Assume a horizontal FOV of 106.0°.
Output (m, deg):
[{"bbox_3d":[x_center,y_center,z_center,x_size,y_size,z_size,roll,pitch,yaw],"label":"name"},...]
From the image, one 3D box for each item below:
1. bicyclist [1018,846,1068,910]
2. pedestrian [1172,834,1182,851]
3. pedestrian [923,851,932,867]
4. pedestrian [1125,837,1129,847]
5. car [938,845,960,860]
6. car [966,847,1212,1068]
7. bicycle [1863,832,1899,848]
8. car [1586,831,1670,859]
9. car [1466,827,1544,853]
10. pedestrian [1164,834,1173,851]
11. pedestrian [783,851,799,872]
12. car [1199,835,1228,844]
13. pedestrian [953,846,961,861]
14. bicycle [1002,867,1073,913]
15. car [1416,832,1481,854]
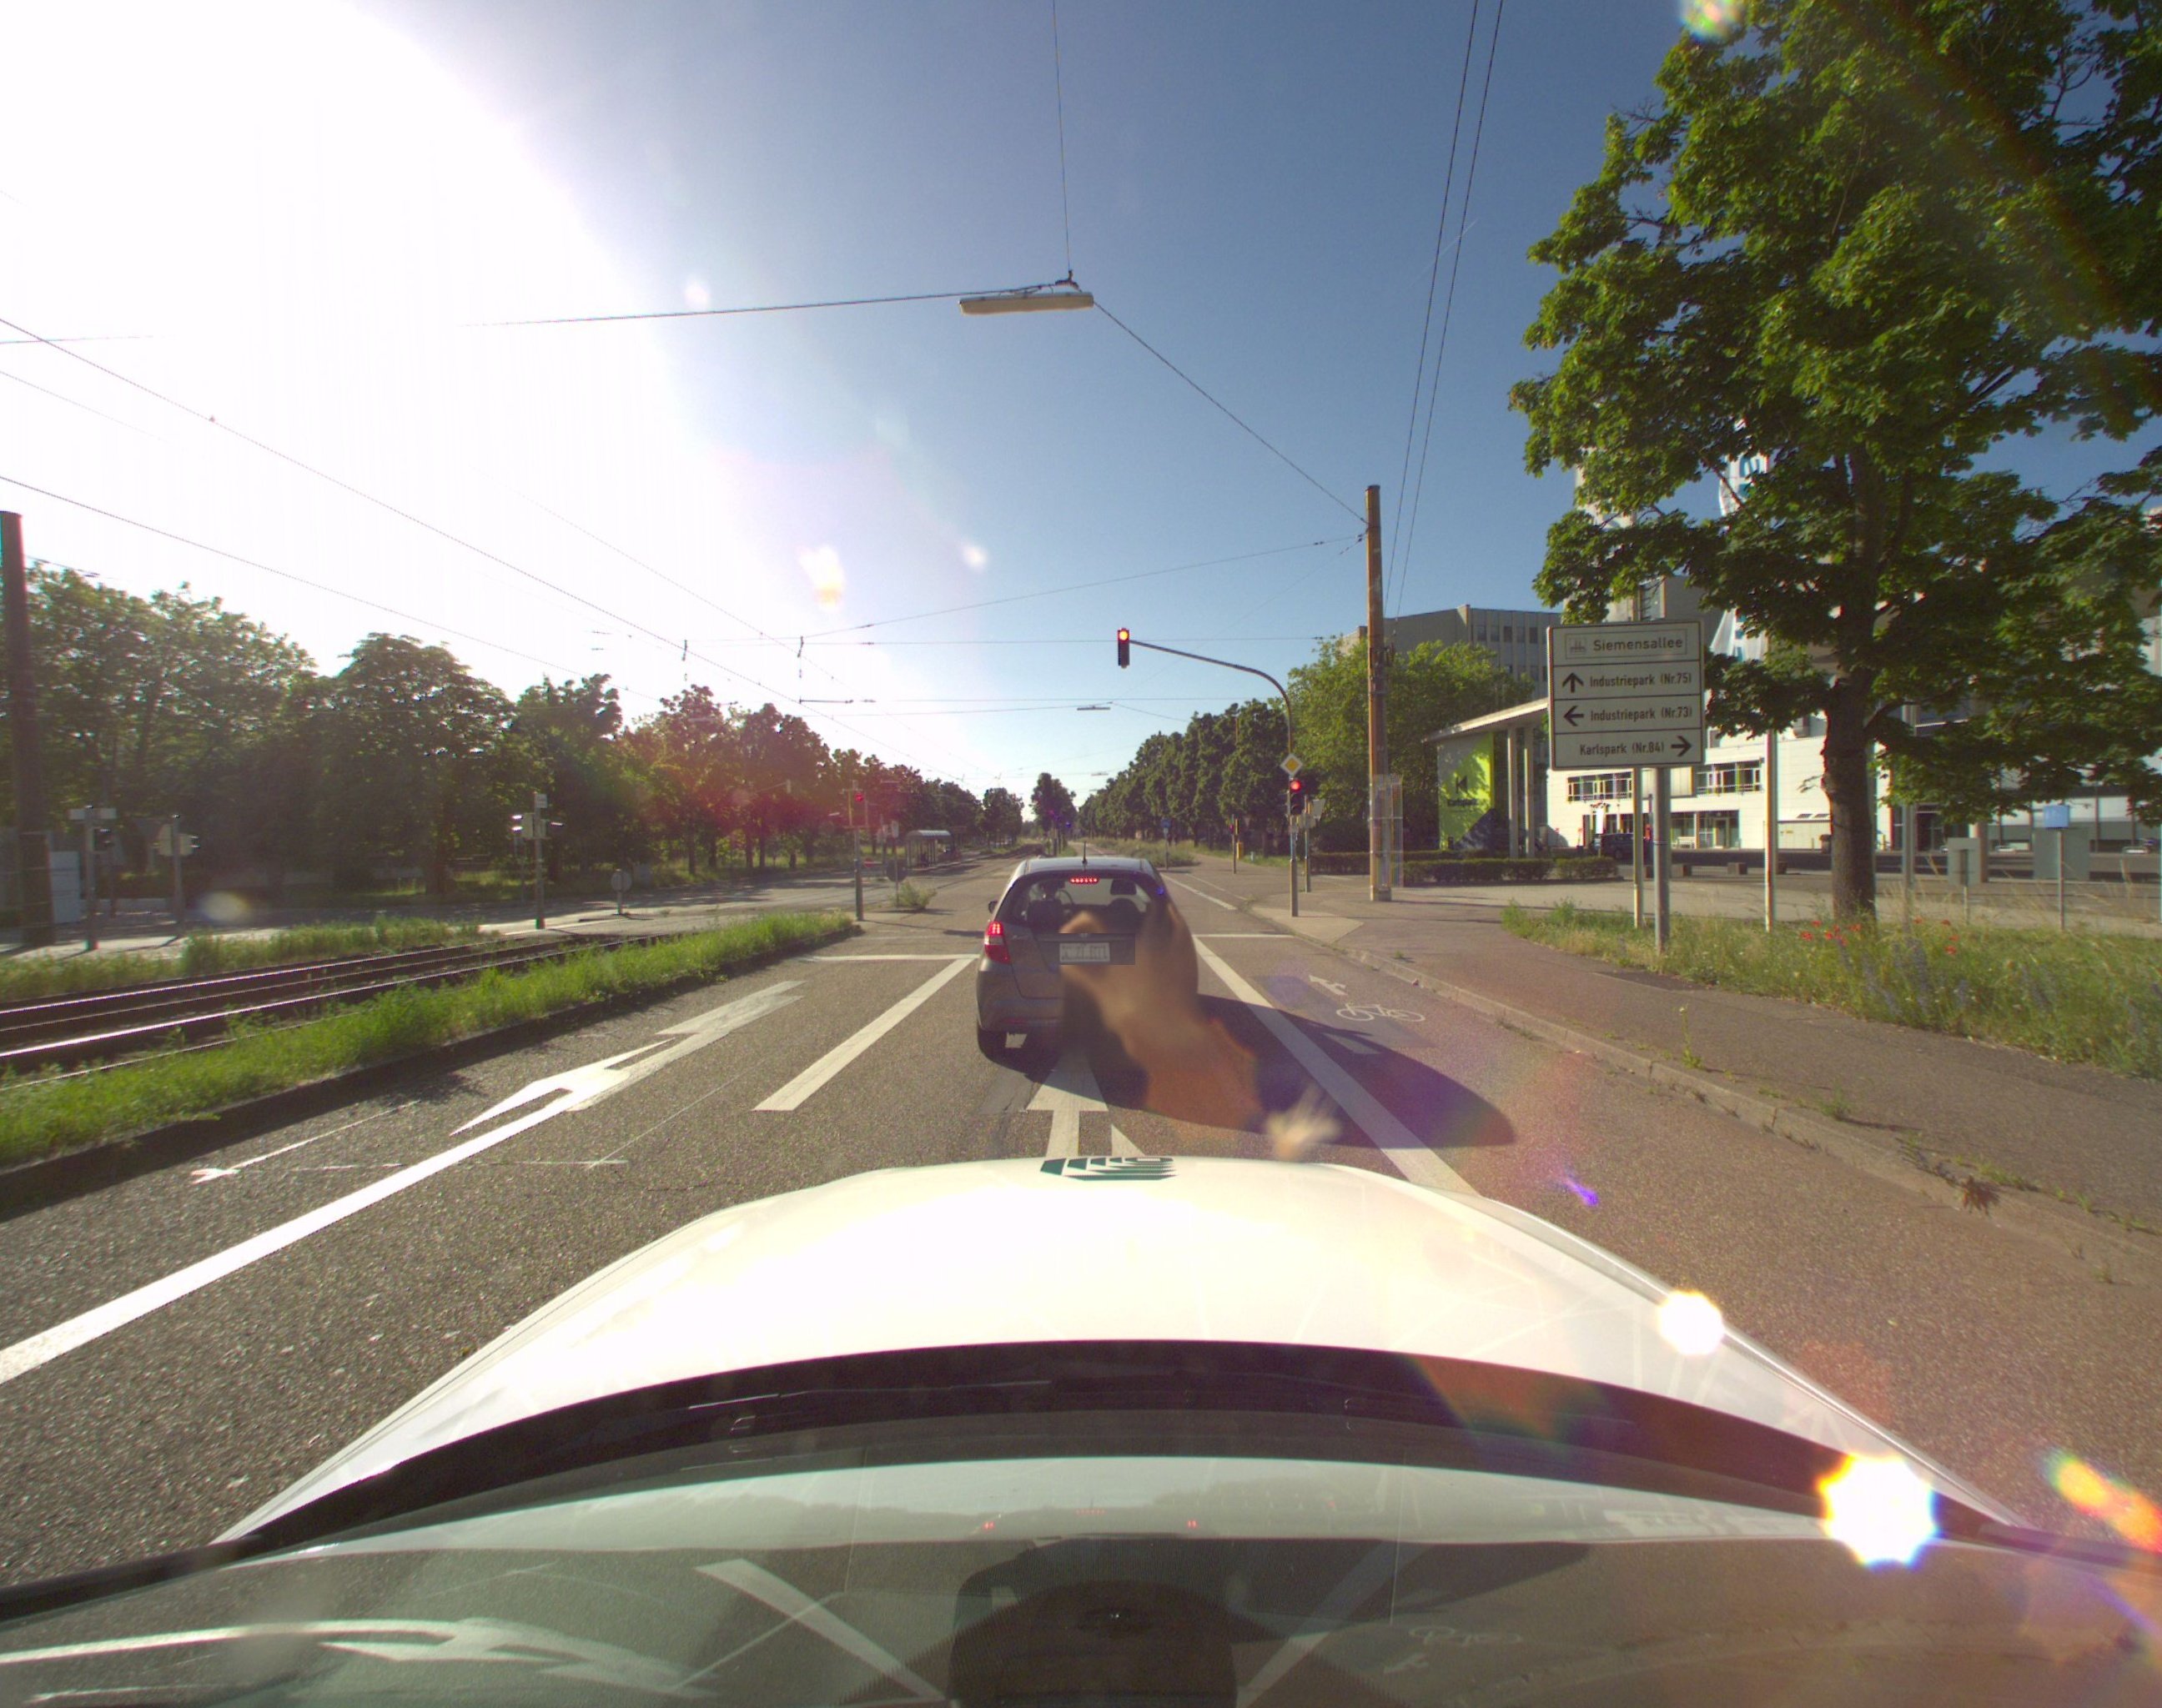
[{"bbox_3d":[-0.968,0.605,20.971,1.228,1.593,0.805,-1,0,0],"label":"bicyclist"},{"bbox_3d":[10.850,-1.274,92.036,0.880,1.884,0.875,-2,1,-2],"label":"pedestrian"},{"bbox_3d":[-12.447,0.376,66.007,0.562,1.257,0.581,-4,0,1],"label":"pedestrian"},{"bbox_3d":[7.908,-2.088,139.823,0.723,1.690,0.820,-1,-2,-1],"label":"pedestrian"},{"bbox_3d":[-18.232,-0.210,112.853,2.087,1.810,4.792,-3,1,0],"label":"car"},{"bbox_3d":[0.114,0.726,7.544,1.694,1.524,3.711,-1,0,2],"label":"car"},{"bbox_3d":[52.268,-0.890,53.242,0.565,1.004,1.614,-2,1,-13],"label":"bicycle"},{"bbox_3d":[33.319,-0.562,49.641,3.984,1.578,1.949,-1,0,-8],"label":"car"},{"bbox_3d":[31.106,-1.044,59.770,4.888,1.757,2.082,-2,1,-14],"label":"car"},{"bbox_3d":[9.910,-1.267,92.032,0.880,1.884,0.875,-2,1,-2],"label":"pedestrian"},{"bbox_3d":[-24.308,0.609,68.209,0.751,1.734,0.943,-1,1,30],"label":"pedestrian"},{"bbox_3d":[23.494,-2.551,144.255,4.623,1.555,1.997,-2,1,-5],"label":"car"},{"bbox_3d":[-12.268,-0.052,80.576,0.542,1.447,0.559,-2,0,1],"label":"pedestrian"},{"bbox_3d":[-1.101,0.920,21.047,1.769,1.102,0.699,-1,0,0],"label":"bicycle"},{"bbox_3d":[30.043,-0.920,66.663,4.448,1.686,1.892,-2,1,-4],"label":"car"}]
